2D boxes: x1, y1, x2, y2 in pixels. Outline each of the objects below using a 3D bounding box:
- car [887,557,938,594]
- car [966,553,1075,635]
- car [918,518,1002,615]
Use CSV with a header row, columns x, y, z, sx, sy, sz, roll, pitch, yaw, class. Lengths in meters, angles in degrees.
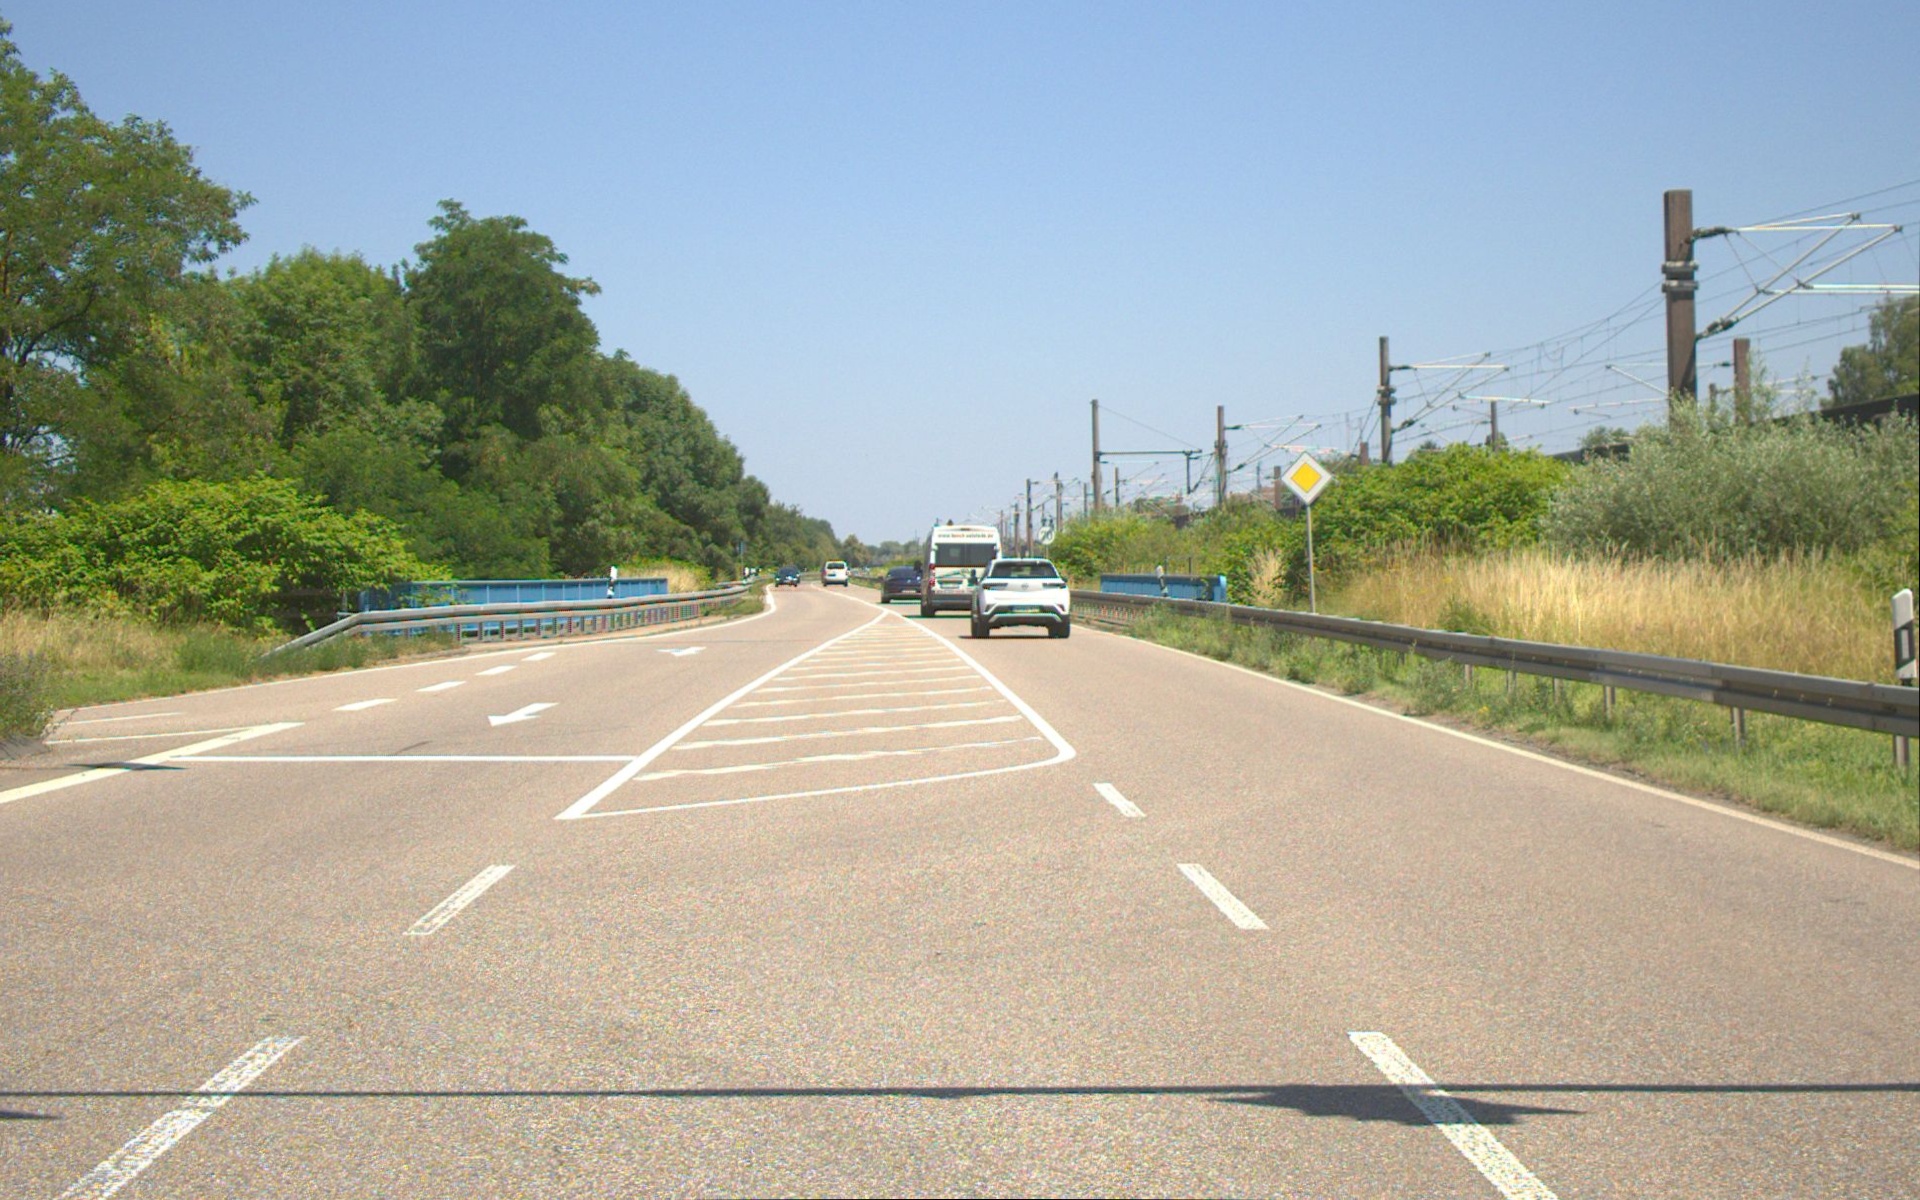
x,y,z,sx,sy,sz,roll,pitch,yaw,class
-1.858,-0.959,133.562,1.856,1.375,4.504,1,1,-2,car
1.147,-0.141,67.023,1.817,1.558,4.279,0,1,-3,car
-0.046,-0.969,96.418,2.188,2.595,6.751,1,1,-1,car
